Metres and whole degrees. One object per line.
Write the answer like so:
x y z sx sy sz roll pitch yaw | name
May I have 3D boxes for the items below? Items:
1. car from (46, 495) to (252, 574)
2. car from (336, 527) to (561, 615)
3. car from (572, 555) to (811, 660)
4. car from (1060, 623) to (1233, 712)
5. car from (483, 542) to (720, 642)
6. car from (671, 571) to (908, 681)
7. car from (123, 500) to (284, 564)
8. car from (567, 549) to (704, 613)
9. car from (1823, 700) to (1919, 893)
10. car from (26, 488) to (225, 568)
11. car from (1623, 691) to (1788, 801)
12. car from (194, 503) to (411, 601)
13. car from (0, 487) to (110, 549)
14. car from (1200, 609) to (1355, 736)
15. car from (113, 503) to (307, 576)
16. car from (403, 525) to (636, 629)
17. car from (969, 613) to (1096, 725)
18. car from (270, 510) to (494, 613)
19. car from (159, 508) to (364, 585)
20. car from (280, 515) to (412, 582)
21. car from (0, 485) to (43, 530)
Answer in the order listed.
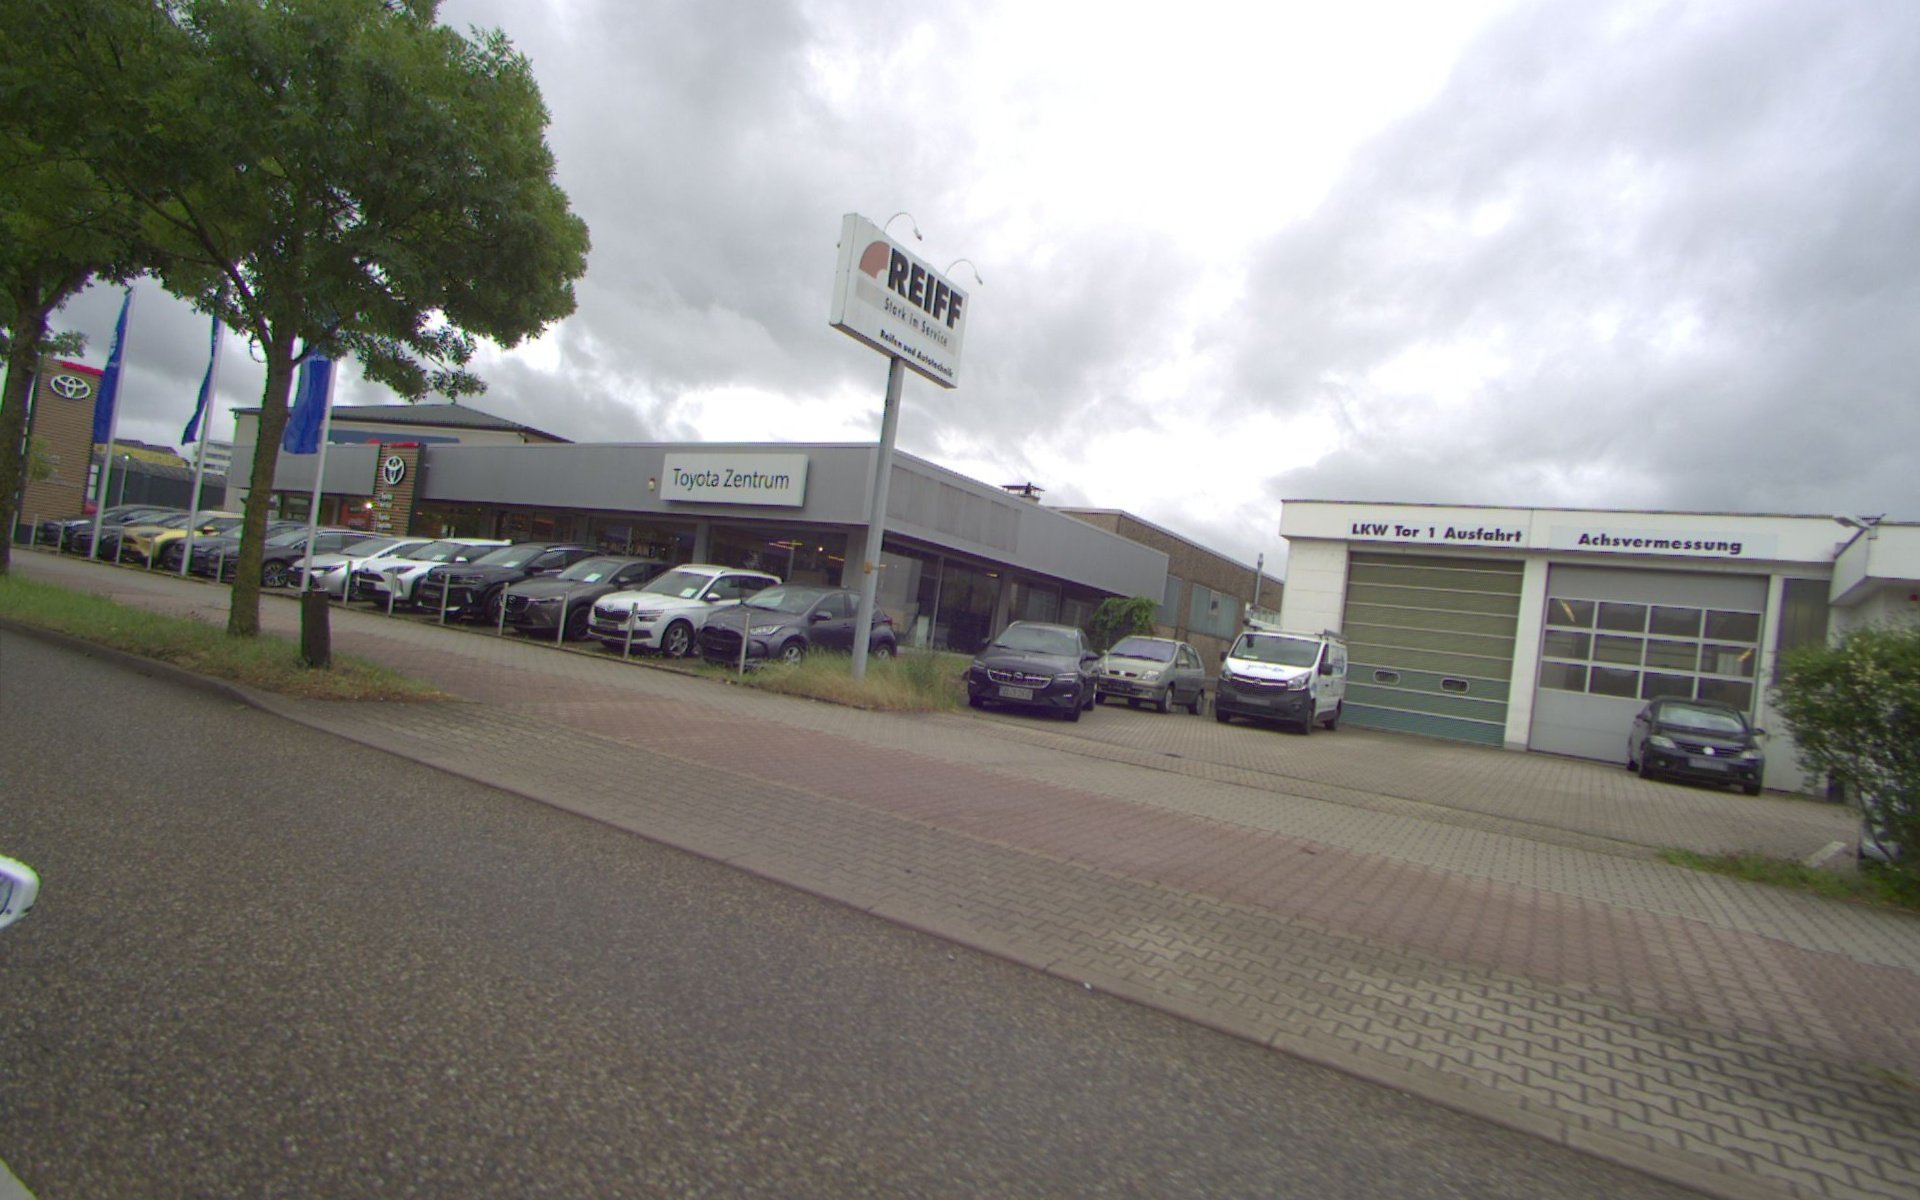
-22.363 -1.769 27.905 1.770 1.557 3.994 7 -1 31 | car
-10.993 -0.595 21.883 1.781 1.610 3.987 8 4 29 | car
-4.756 0.144 18.336 1.782 1.564 3.985 7 3 33 | car
4.201 1.521 22.002 1.967 1.515 4.659 7 -1 33 | car
-6.787 -0.119 19.430 1.782 1.606 3.985 7 3 33 | car
-2.736 0.408 16.951 1.797 1.481 3.834 7 2 30 | car
-26.722 -2.376 35.654 1.851 1.642 4.110 7 0 35 | car
-10.410 -0.570 32.541 1.646 1.554 3.993 7 -1 32 | car
10.257 2.003 9.818 4.036 1.616 1.964 8 -1 -39 | car
-24.301 -2.056 29.433 1.814 1.667 3.994 7 -1 31 | car
13.611 2.617 18.615 1.952 1.520 4.062 7 -2 32 | car
-16.104 -1.133 24.848 1.782 1.808 3.992 7 -1 33 | car
-29.464 -2.656 31.570 1.765 1.624 3.844 7 1 31 | car
6.809 1.553 21.234 1.932 2.175 4.661 7 -1 30 | car
-20.114 -1.587 27.142 1.638 1.587 3.842 7 2 28 | car
-8.870 -0.426 20.574 1.782 1.811 3.985 7 3 33 | car
1.215 1.092 17.059 1.760 1.481 3.693 7 -1 4 | car
-13.202 -0.826 23.215 1.782 1.808 3.992 7 -1 33 | car
-18.065 -1.351 26.182 1.683 1.567 3.987 7 2 33 | car
-19.531 -1.647 31.978 4.054 1.642 1.876 7 0 32 | car
-50.248 -4.997 51.194 1.953 2.037 4.838 6 -1 21 | car
